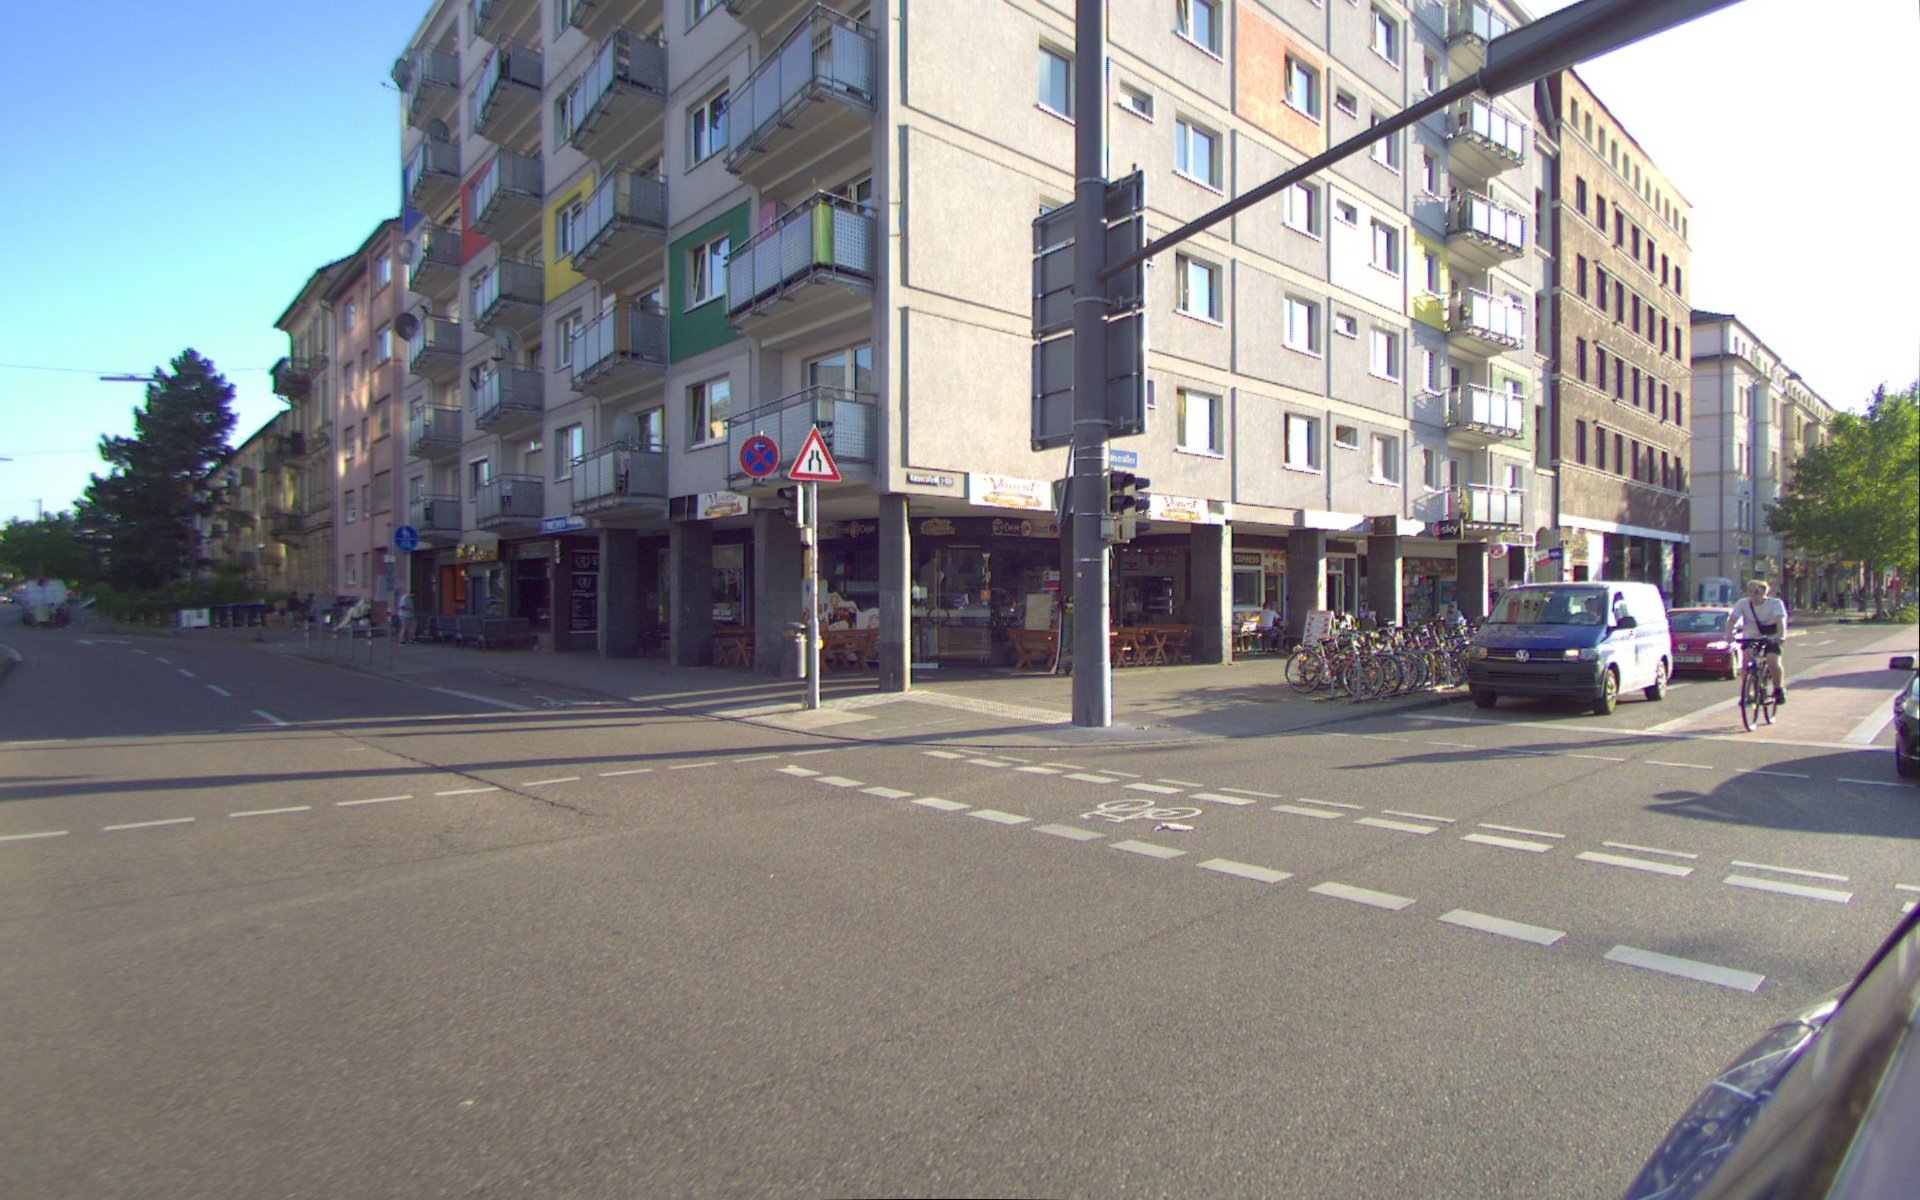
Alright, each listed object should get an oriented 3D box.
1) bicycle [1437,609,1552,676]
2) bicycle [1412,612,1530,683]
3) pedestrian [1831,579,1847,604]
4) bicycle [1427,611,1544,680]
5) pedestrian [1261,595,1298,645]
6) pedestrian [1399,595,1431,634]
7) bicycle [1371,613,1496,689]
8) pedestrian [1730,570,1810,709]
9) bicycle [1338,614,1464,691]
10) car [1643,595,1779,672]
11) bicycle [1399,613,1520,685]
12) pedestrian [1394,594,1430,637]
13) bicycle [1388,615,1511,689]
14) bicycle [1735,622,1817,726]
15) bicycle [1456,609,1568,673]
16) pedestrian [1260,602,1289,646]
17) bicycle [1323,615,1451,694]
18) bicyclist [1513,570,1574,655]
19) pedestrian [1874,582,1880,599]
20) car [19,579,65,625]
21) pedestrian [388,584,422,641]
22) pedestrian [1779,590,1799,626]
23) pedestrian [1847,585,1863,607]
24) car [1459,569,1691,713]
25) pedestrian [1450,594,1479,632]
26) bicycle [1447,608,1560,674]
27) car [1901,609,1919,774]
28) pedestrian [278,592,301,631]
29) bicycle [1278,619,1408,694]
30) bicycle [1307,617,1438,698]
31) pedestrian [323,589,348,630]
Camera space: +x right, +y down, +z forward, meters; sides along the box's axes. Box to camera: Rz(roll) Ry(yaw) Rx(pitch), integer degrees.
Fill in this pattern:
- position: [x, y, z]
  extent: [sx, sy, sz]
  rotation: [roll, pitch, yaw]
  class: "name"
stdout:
- position: [10.363, 0.801, 19.665]
  extent: [1.869, 1.139, 0.559]
  rotation: [4, 3, 45]
  class: "bicycle"
- position: [9.521, 0.858, 18.911]
  extent: [1.869, 1.139, 0.559]
  rotation: [4, 3, 45]
  class: "bicycle"
- position: [59.062, -0.563, 68.006]
  extent: [0.909, 1.697, 0.727]
  rotation: [0, 0, -44]
  class: "pedestrian"
- position: [9.972, 0.829, 19.257]
  extent: [1.869, 1.139, 0.559]
  rotation: [4, 3, 45]
  class: "bicycle"
- position: [8.490, 0.520, 26.922]
  extent: [0.634, 1.290, 0.861]
  rotation: [0, 0, -5]
  class: "pedestrian"
- position: [14.654, 0.456, 32.580]
  extent: [0.636, 1.247, 0.726]
  rotation: [0, 0, -41]
  class: "pedestrian"
- position: [8.235, 0.855, 17.661]
  extent: [1.869, 1.139, 0.559]
  rotation: [4, 3, 45]
  class: "bicycle"
- position: [10.189, 0.479, 12.724]
  extent: [0.829, 1.670, 0.639]
  rotation: [0, -1, -43]
  class: "pedestrian"
- position: [7.518, 0.868, 17.312]
  extent: [1.869, 1.139, 0.559]
  rotation: [4, 3, 45]
  class: "bicycle"
- position: [16.247, 0.681, 21.849]
  extent: [3.479, 1.499, 1.684]
  rotation: [-1, -1, -42]
  class: "car"
- position: [9.115, 0.869, 18.521]
  extent: [1.869, 1.139, 0.559]
  rotation: [4, 3, 45]
  class: "bicycle"
- position: [13.953, 0.461, 31.244]
  extent: [0.937, 1.311, 0.646]
  rotation: [-1, 0, -40]
  class: "pedestrian"
- position: [8.729, 0.896, 18.103]
  extent: [1.869, 1.139, 0.559]
  rotation: [4, 3, 45]
  class: "bicycle"
- position: [10.284, 0.889, 12.729]
  extent: [1.818, 1.174, 0.529]
  rotation: [-1, -1, -43]
  class: "bicycle"
- position: [11.145, 0.804, 20.486]
  extent: [1.869, 1.139, 0.559]
  rotation: [4, 3, 45]
  class: "bicycle"
- position: [8.139, 0.610, 26.170]
  extent: [0.640, 1.113, 0.540]
  rotation: [0, 0, 26]
  class: "pedestrian"
- position: [7.107, 0.873, 16.910]
  extent: [1.869, 1.139, 0.559]
  rotation: [4, 3, 45]
  class: "bicycle"
- position: [13.089, 0.261, 22.698]
  extent: [1.361, 1.830, 0.743]
  rotation: [-1, 0, -40]
  class: "bicyclist"
- position: [78.883, -0.833, 87.077]
  extent: [0.350, 1.458, 0.311]
  rotation: [0, 0, -35]
  class: "pedestrian"
- position: [-56.904, 0.084, 62.710]
  extent: [2.056, 2.755, 4.536]
  rotation: [0, 0, -44]
  class: "car"
- position: [-17.665, 0.392, 32.207]
  extent: [0.723, 1.798, 0.702]
  rotation: [0, 0, 36]
  class: "pedestrian"
- position: [38.317, 0.363, 46.785]
  extent: [0.869, 1.616, 0.602]
  rotation: [0, 0, -43]
  class: "pedestrian"
- position: [59.350, -0.279, 67.107]
  extent: [0.909, 1.458, 0.727]
  rotation: [0, 0, -44]
  class: "pedestrian"
- position: [9.913, 0.525, 16.148]
  extent: [4.750, 1.957, 1.939]
  rotation: [-1, 1, -43]
  class: "car"
- position: [15.960, 0.410, 32.044]
  extent: [0.715, 1.166, 0.605]
  rotation: [-1, 0, -43]
  class: "pedestrian"
- position: [10.750, 0.791, 20.078]
  extent: [1.869, 1.139, 0.559]
  rotation: [4, 3, 45]
  class: "bicycle"
- position: [9.963, 0.753, 9.227]
  extent: [4.170, 1.324, 1.773]
  rotation: [-1, 0, -44]
  class: "car"
- position: [-27.739, 0.450, 41.863]
  extent: [0.700, 1.596, 0.726]
  rotation: [-1, 0, -44]
  class: "pedestrian"
- position: [6.063, 0.872, 16.104]
  extent: [0.597, 1.074, 1.869]
  rotation: [0, 0, -44]
  class: "bicycle"
- position: [6.691, 0.902, 16.496]
  extent: [1.869, 1.139, 0.597]
  rotation: [4, 3, 45]
  class: "bicycle"
- position: [-24.782, 0.384, 40.147]
  extent: [0.699, 1.596, 0.726]
  rotation: [-1, 0, -43]
  class: "pedestrian"
